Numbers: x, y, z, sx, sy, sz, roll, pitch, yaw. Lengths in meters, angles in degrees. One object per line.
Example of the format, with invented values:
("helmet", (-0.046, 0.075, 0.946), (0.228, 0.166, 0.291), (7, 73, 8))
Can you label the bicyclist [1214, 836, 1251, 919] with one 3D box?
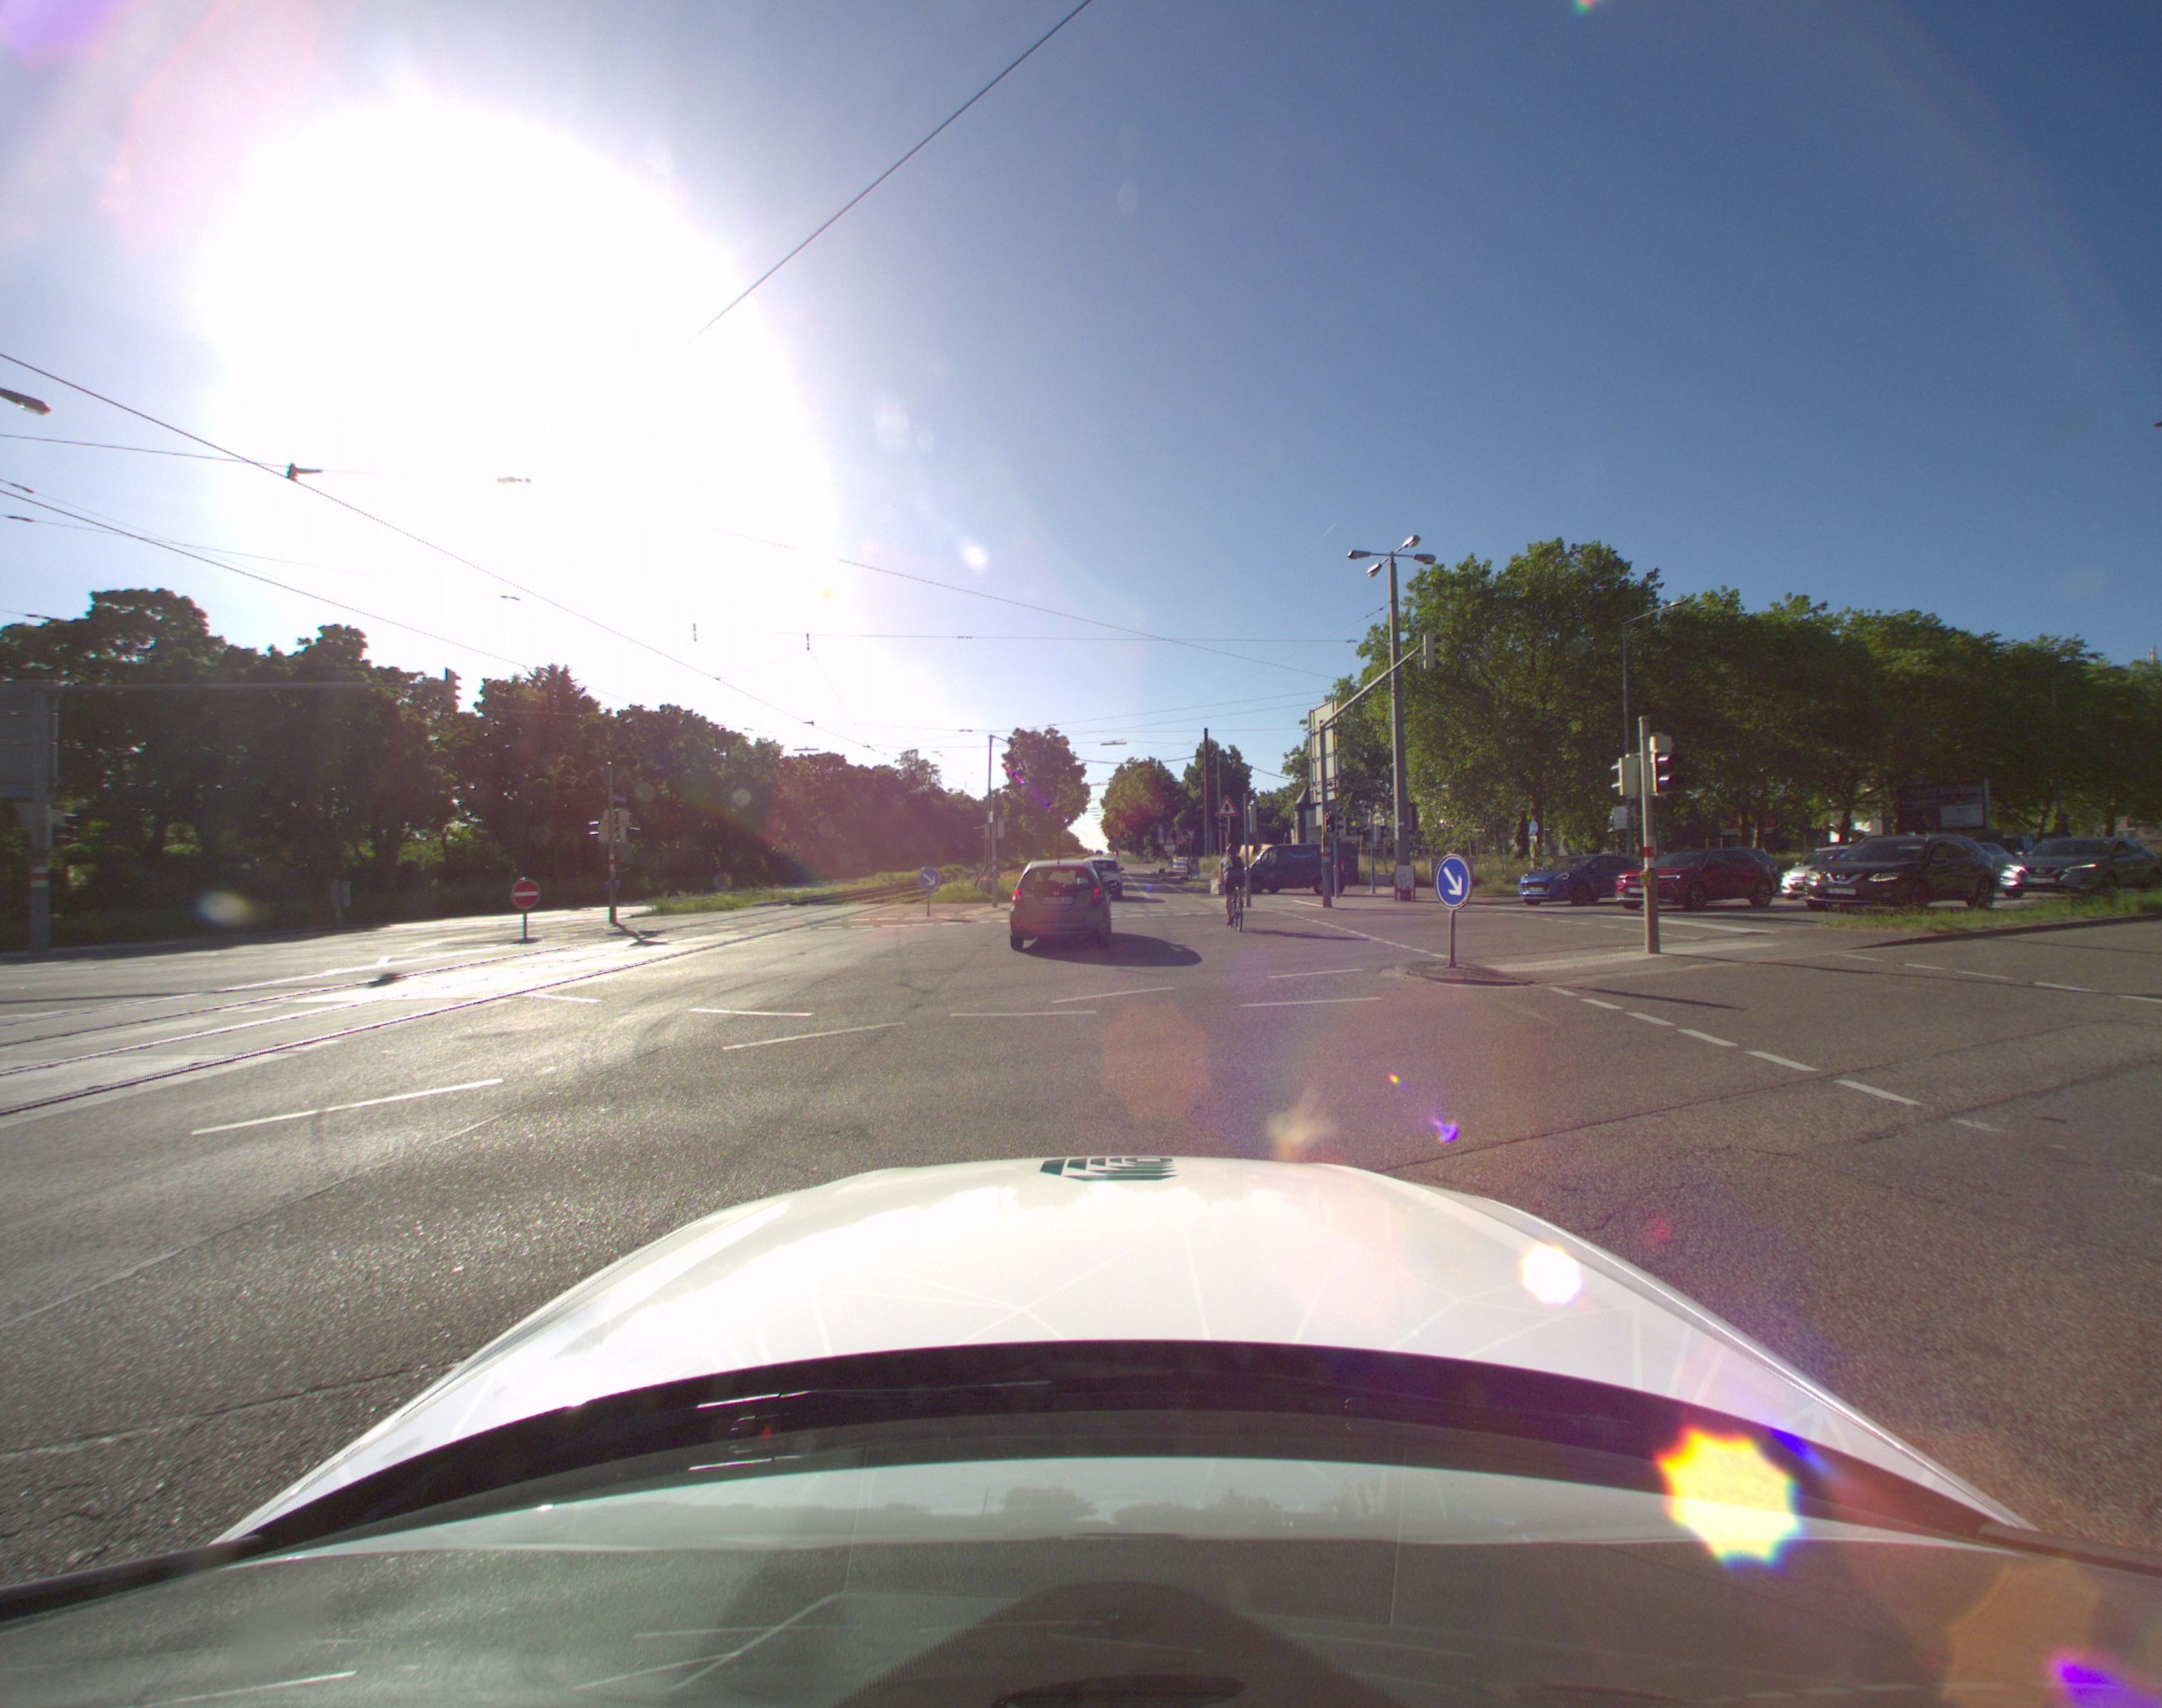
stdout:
("bicyclist", (3.141, 0.480, 16.941), (0.612, 1.679, 0.934), (-2, -1, 3))

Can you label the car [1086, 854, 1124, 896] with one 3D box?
("car", (0.975, 0.789, 31.946), (1.346, 1.528, 3.125), (-2, -1, 3))

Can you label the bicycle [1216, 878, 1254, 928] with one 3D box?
("bicycle", (3.208, 0.994, 17.095), (0.521, 0.923, 2.091), (-2, -1, 4))

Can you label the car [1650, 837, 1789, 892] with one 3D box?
("car", (21.292, 0.333, 27.152), (4.181, 1.678, 1.919), (-1, -1, -25))

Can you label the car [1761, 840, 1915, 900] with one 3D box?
("car", (21.852, 0.439, 23.516), (3.861, 1.600, 1.701), (-1, -1, -21))

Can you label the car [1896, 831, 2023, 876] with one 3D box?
("car", (34.436, 0.024, 31.919), (4.782, 1.682, 1.894), (0, -2, -24))

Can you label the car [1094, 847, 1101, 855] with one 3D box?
("car", (4.686, -0.815, 229.230), (1.985, 2.014, 4.003), (-1, -1, 3))

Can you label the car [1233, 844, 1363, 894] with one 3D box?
("car", (9.520, 0.660, 35.874), (5.053, 2.070, 2.144), (-2, -1, 34))

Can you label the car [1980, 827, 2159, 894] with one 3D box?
("car", (26.151, 0.150, 21.548), (4.005, 1.618, 1.984), (-1, -1, -24))

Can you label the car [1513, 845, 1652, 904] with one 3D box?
("car", (15.230, 0.595, 24.714), (3.866, 1.600, 1.699), (-1, -1, -25))

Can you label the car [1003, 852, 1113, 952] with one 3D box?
("car", (-0.295, 0.760, 14.838), (1.663, 1.515, 3.677), (1, 1, 3))

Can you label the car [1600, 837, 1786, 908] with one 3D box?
("car", (15.405, 0.430, 20.511), (4.091, 1.600, 1.804), (-1, -1, -21))

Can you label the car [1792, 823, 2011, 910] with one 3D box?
("car", (18.080, 0.240, 17.933), (4.501, 1.711, 1.905), (-1, -1, -24))
